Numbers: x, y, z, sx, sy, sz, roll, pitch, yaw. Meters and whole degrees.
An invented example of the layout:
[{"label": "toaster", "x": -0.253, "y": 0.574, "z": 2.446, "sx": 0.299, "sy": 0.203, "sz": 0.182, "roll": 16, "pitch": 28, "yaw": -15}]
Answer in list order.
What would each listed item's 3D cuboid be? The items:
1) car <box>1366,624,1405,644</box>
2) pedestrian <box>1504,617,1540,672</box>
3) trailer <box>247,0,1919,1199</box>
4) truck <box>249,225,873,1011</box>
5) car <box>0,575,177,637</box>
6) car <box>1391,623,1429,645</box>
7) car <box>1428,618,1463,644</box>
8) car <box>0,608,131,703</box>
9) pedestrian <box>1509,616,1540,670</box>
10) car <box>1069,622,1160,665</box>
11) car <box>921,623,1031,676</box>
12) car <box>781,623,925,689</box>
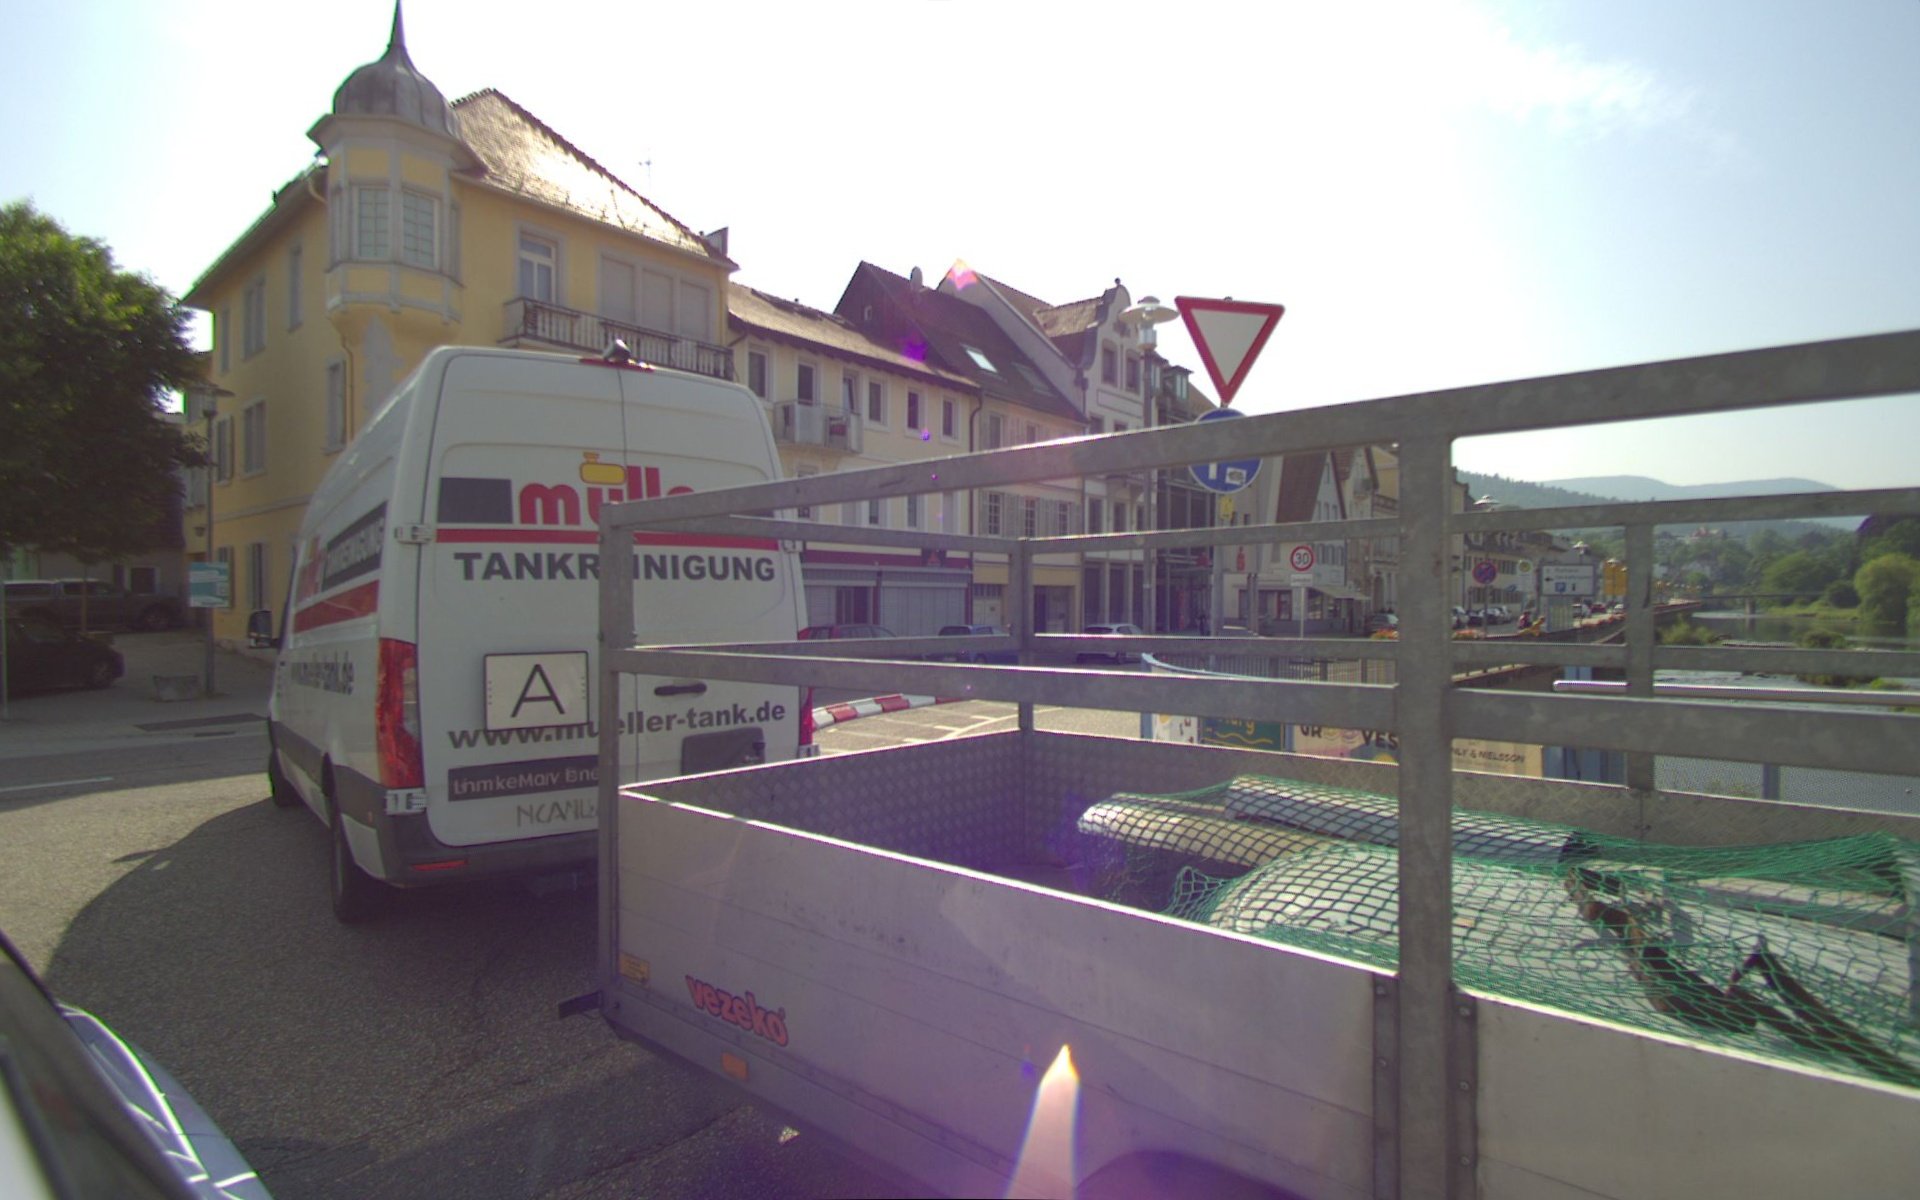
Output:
[{"label": "car", "x": 27.195, "y": 2.174, "z": 64.709, "sx": 1.566, "sy": 1.229, "sz": 3.235, "roll": -1, "pitch": -1, "yaw": 37}, {"label": "pedestrian", "x": 17.861, "y": 1.397, "z": 32.166, "sx": 0.869, "sy": 1.719, "sz": 0.767, "roll": 0, "pitch": -1, "yaw": 40}, {"label": "trailer", "x": 0.776, "y": 0.433, "z": 2.239, "sx": 5.634, "sy": 1.841, "sz": 2.583, "roll": -2, "pitch": -2, "yaw": 41}, {"label": "truck", "x": -3.432, "y": 0.206, "z": 6.973, "sx": 2.078, "sy": 2.719, "sz": 7.147, "roll": 0, "pitch": -3, "yaw": -38}, {"label": "car", "x": -29.453, "y": 0.211, "z": 33.698, "sx": 1.995, "sy": 1.905, "sz": 5.014, "roll": -1, "pitch": -1, "yaw": 34}, {"label": "car", "x": 30.915, "y": 2.298, "z": 69.486, "sx": 1.750, "sy": 1.459, "sz": 3.235, "roll": -1, "pitch": -1, "yaw": 37}, {"label": "car", "x": 37.405, "y": 2.346, "z": 77.919, "sx": 1.750, "sy": 1.950, "sz": 3.532, "roll": -1, "pitch": -1, "yaw": 37}, {"label": "car", "x": -17.591, "y": 0.987, "z": 18.364, "sx": 1.896, "sy": 1.554, "sz": 3.959, "roll": 0, "pitch": 1, "yaw": -1}, {"label": "pedestrian", "x": 18.223, "y": 1.376, "z": 32.684, "sx": 0.791, "sy": 1.719, "sz": 0.485, "roll": 0, "pitch": -1, "yaw": 40}, {"label": "car", "x": 5.678, "y": 1.539, "z": 36.888, "sx": 1.750, "sy": 1.459, "sz": 3.747, "roll": -1, "pitch": -1, "yaw": 37}, {"label": "car", "x": 0.515, "y": 1.443, "z": 30.264, "sx": 1.750, "sy": 1.459, "sz": 3.235, "roll": -1, "pitch": -1, "yaw": 37}, {"label": "car", "x": -2.737, "y": 1.397, "z": 26.398, "sx": 1.849, "sy": 1.580, "sz": 3.523, "roll": -1, "pitch": -1, "yaw": 37}]
